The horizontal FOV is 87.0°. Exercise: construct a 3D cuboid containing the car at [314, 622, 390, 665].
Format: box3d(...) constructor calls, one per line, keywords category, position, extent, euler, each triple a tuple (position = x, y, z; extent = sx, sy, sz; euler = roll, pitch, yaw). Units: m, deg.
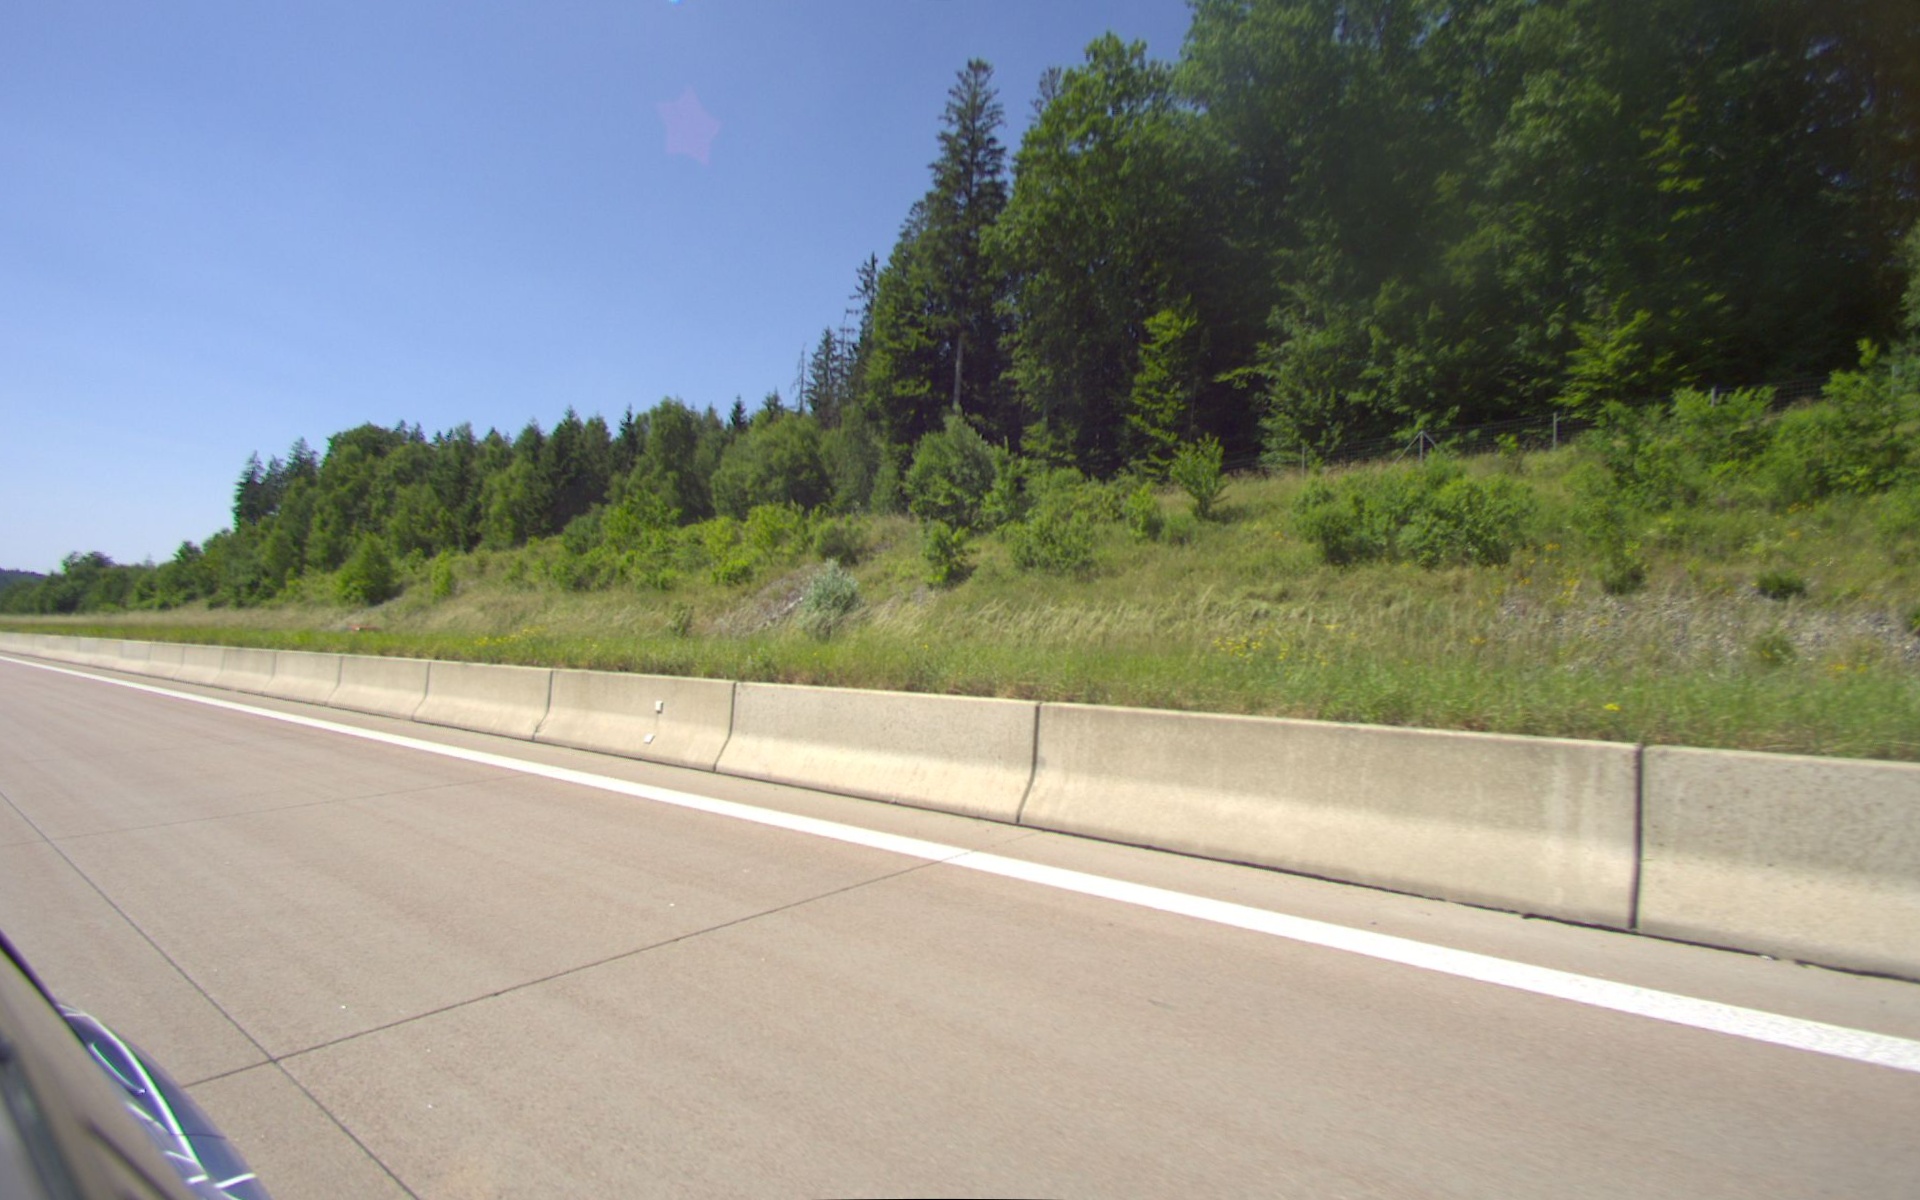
box3d(category="car", position=(-31.178, 2.227, 51.876), extent=(4.658, 2.080, 1.872), euler=(-2, -2, 39))
